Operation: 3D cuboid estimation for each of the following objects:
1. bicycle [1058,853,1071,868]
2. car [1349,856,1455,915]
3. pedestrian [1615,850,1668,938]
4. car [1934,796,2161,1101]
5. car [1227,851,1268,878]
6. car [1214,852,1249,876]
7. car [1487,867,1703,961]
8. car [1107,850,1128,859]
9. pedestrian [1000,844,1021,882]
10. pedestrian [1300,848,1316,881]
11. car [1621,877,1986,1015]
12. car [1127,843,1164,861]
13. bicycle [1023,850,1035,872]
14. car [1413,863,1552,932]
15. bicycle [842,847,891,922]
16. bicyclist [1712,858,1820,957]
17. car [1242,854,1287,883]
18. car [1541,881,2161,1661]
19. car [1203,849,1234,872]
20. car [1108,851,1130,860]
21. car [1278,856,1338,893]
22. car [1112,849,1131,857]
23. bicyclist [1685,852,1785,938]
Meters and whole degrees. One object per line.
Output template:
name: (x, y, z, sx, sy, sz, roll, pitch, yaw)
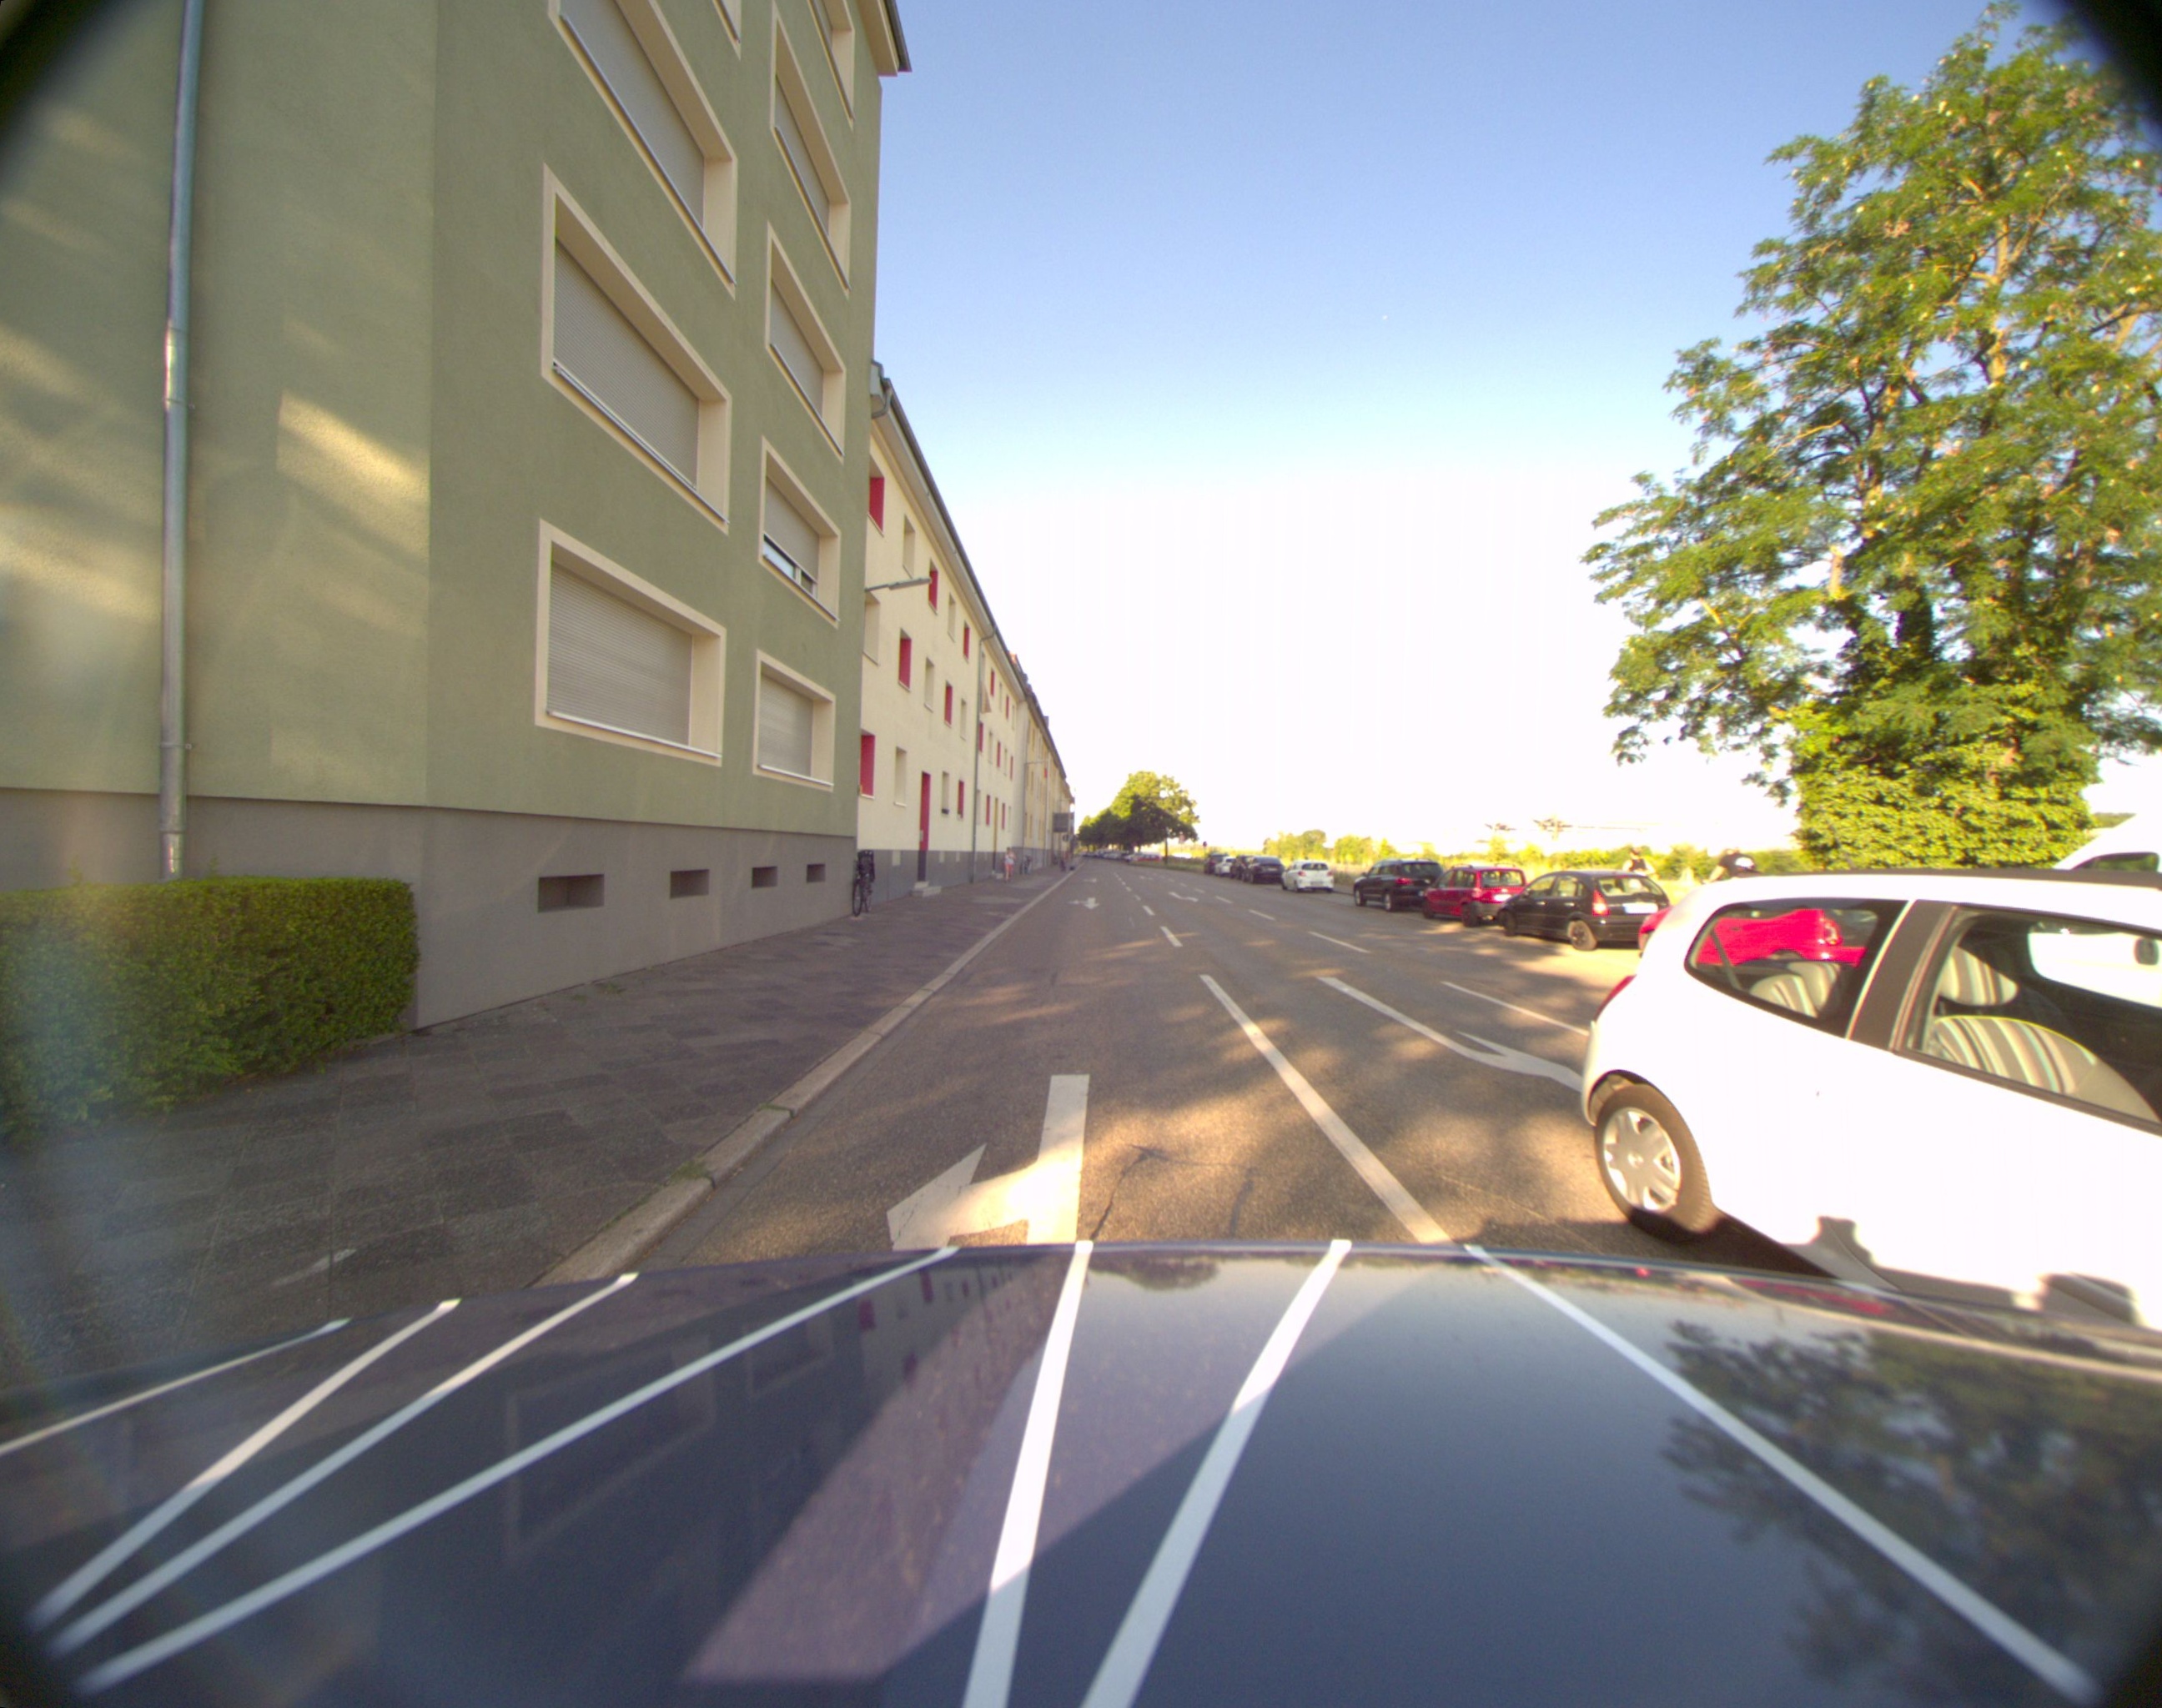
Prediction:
bicycle: (-1.249, 0.478, 56.851, 0.651, 1.091, 2.201, 1, 1, -8)
car: (10.140, 0.942, 24.359, 1.664, 1.649, 4.005, 2, 1, 0)
pedestrian: (13.053, 0.910, 17.710, 0.615, 2.002, 0.730, 2, 1, -1)
car: (9.686, 0.744, 4.829, 2.235, 2.422, 5.559, -1, 1, -1)
car: (10.847, 0.671, 49.713, 1.823, 1.628, 4.220, 2, 1, 2)
car: (10.853, 0.695, 55.106, 1.823, 1.565, 4.220, 2, 1, 2)
car: (10.168, 1.099, 15.421, 1.745, 1.521, 3.816, 2, 1, 0)
car: (7.418, 0.166, 155.326, 3.997, 1.708, 2.000, 2, 1, -1)
pedestrian: (-3.192, 0.397, 34.554, 0.787, 1.697, 0.950, 3, 1, 1)
pedestrian: (13.926, 0.638, 46.617, 0.706, 2.002, 0.710, 2, 1, 2)
car: (10.066, 1.174, 11.052, 1.745, 1.478, 3.694, 2, 1, 0)
car: (9.520, -0.319, 112.252, 5.322, 2.398, 2.266, -2, 1, 0)
bicycle: (-3.164, 0.421, 46.316, 0.517, 1.318, 2.210, 2, 1, 2)
car: (10.261, 1.057, 19.738, 1.664, 1.521, 3.579, 2, 1, 0)
bicycle: (-4.311, 0.569, 15.380, 0.517, 1.404, 1.873, 2, 1, -3)
bicyclist: (11.708, 0.887, 13.033, 0.768, 1.587, 1.146, 2, 1, 0)
car: (10.570, 0.802, 44.013, 1.823, 1.517, 4.291, 2, 1, 5)
car: (3.012, 0.891, 1.619, 1.705, 1.460, 3.775, 2, 1, -1)
car: (11.001, 0.511, 60.991, 1.890, 1.765, 4.220, 2, 1, 2)
car: (7.486, 0.226, 149.743, 3.997, 1.708, 2.000, 2, 1, -1)
car: (10.409, 0.912, 35.079, 1.706, 1.517, 3.583, 2, 1, 1)
car: (9.194, -0.252, 173.174, 3.997, 1.708, 2.000, 2, 1, -1)
bicyclist: (12.688, 0.764, 14.778, 0.866, 1.587, 1.145, 2, 1, -3)
